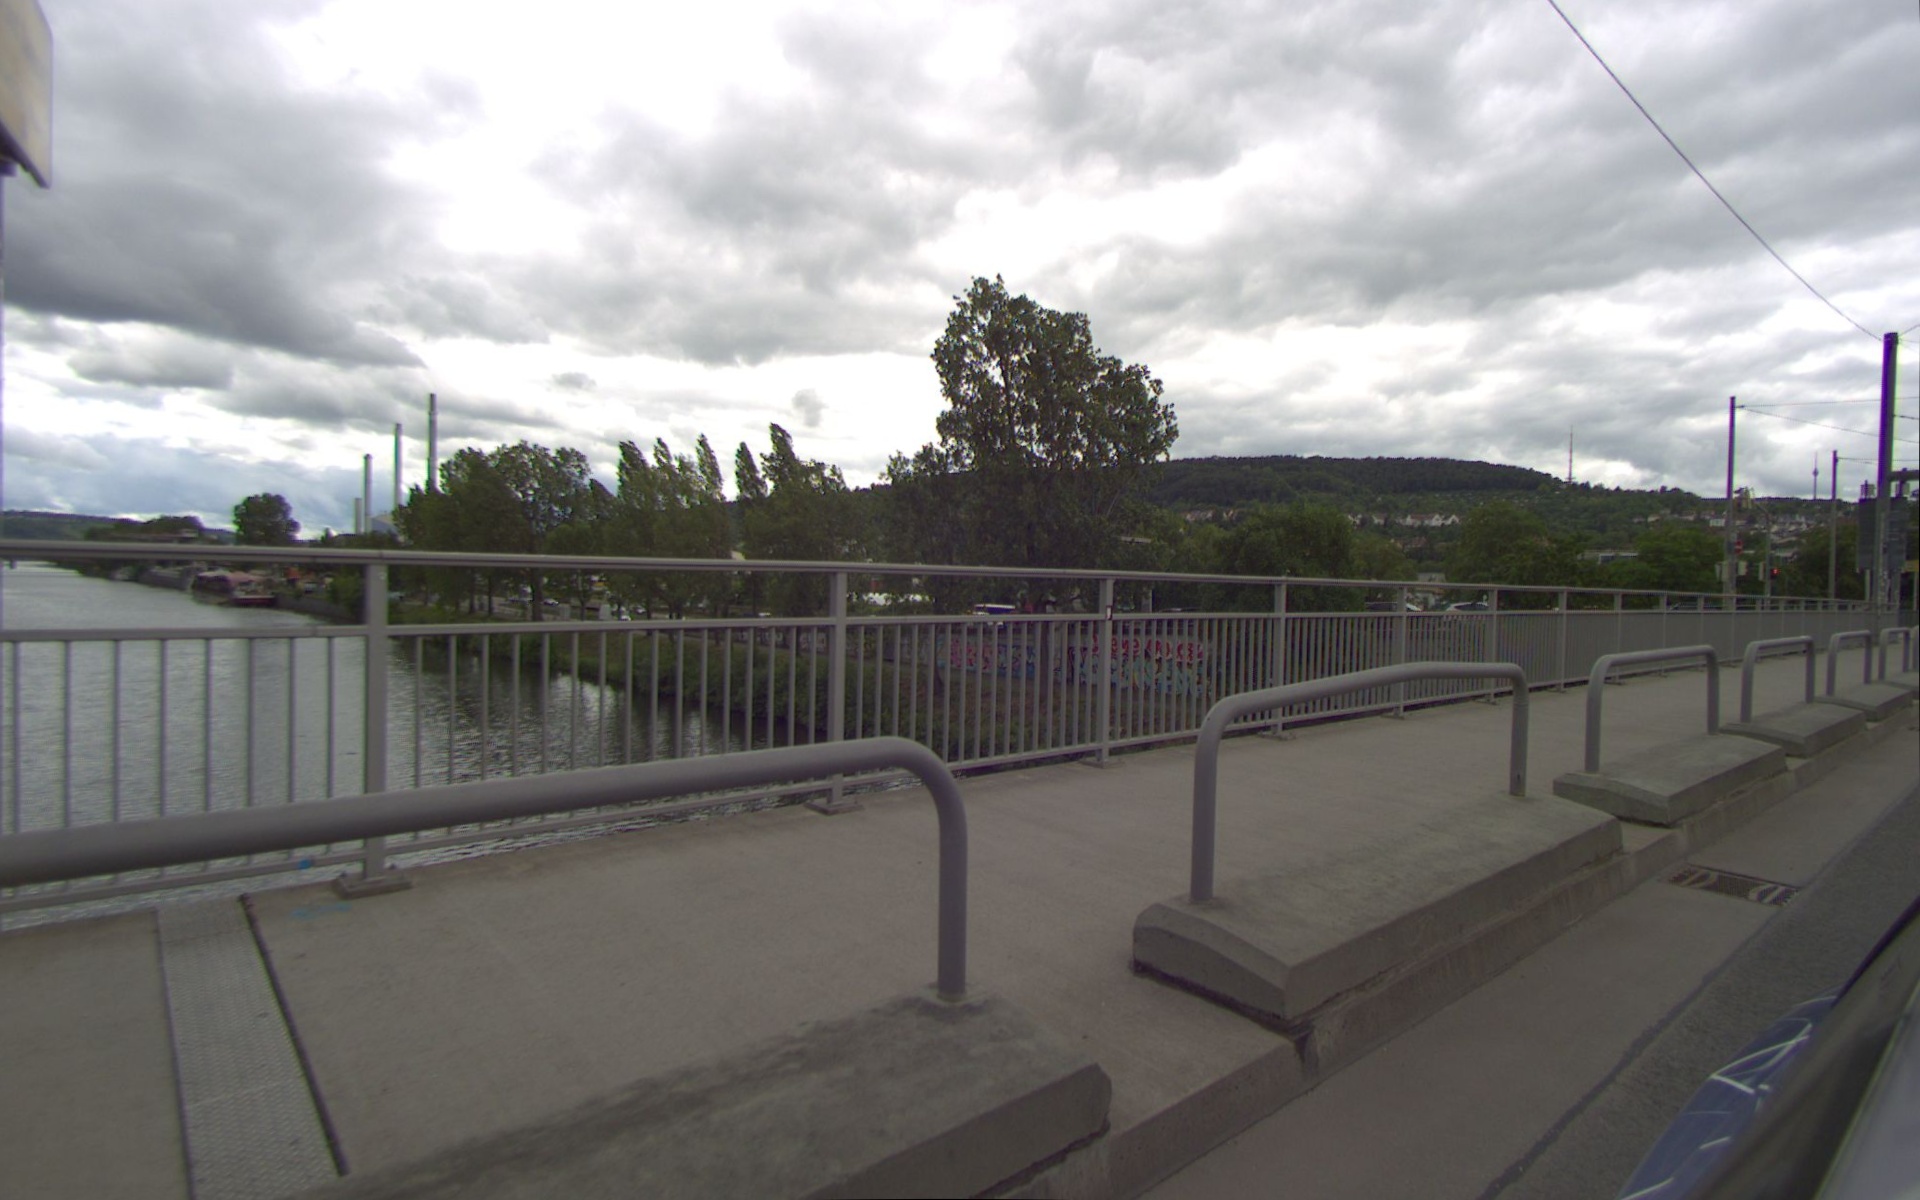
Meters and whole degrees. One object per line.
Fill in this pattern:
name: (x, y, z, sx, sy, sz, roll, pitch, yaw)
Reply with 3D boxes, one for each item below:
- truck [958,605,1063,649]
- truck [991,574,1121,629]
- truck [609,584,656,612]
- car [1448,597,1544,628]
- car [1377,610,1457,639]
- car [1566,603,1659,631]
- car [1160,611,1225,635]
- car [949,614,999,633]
truck: (5.783, 3.089, 120.895, 3.322, 3.964, 14.413, 1, 3, -41)
truck: (7.167, 0.071, 77.178, 3.173, 3.928, 10.404, 1, 0, -43)
truck: (-62.854, -0.408, 194.015, 3.526, 4.540, 13.163, 1, 3, -42)
car: (29.934, 0.681, 56.634, 1.965, 1.640, 4.335, -1, 0, -41)
car: (25.781, 1.356, 57.155, 1.667, 1.559, 3.752, 0, 0, -42)
car: (33.854, 0.867, 52.562, 1.760, 1.329, 3.757, -2, 0, -42)
car: (15.552, 1.538, 67.927, 1.667, 1.559, 4.039, 0, 0, -42)
car: (1.198, 2.045, 87.463, 1.889, 1.559, 4.383, 0, 0, -42)
